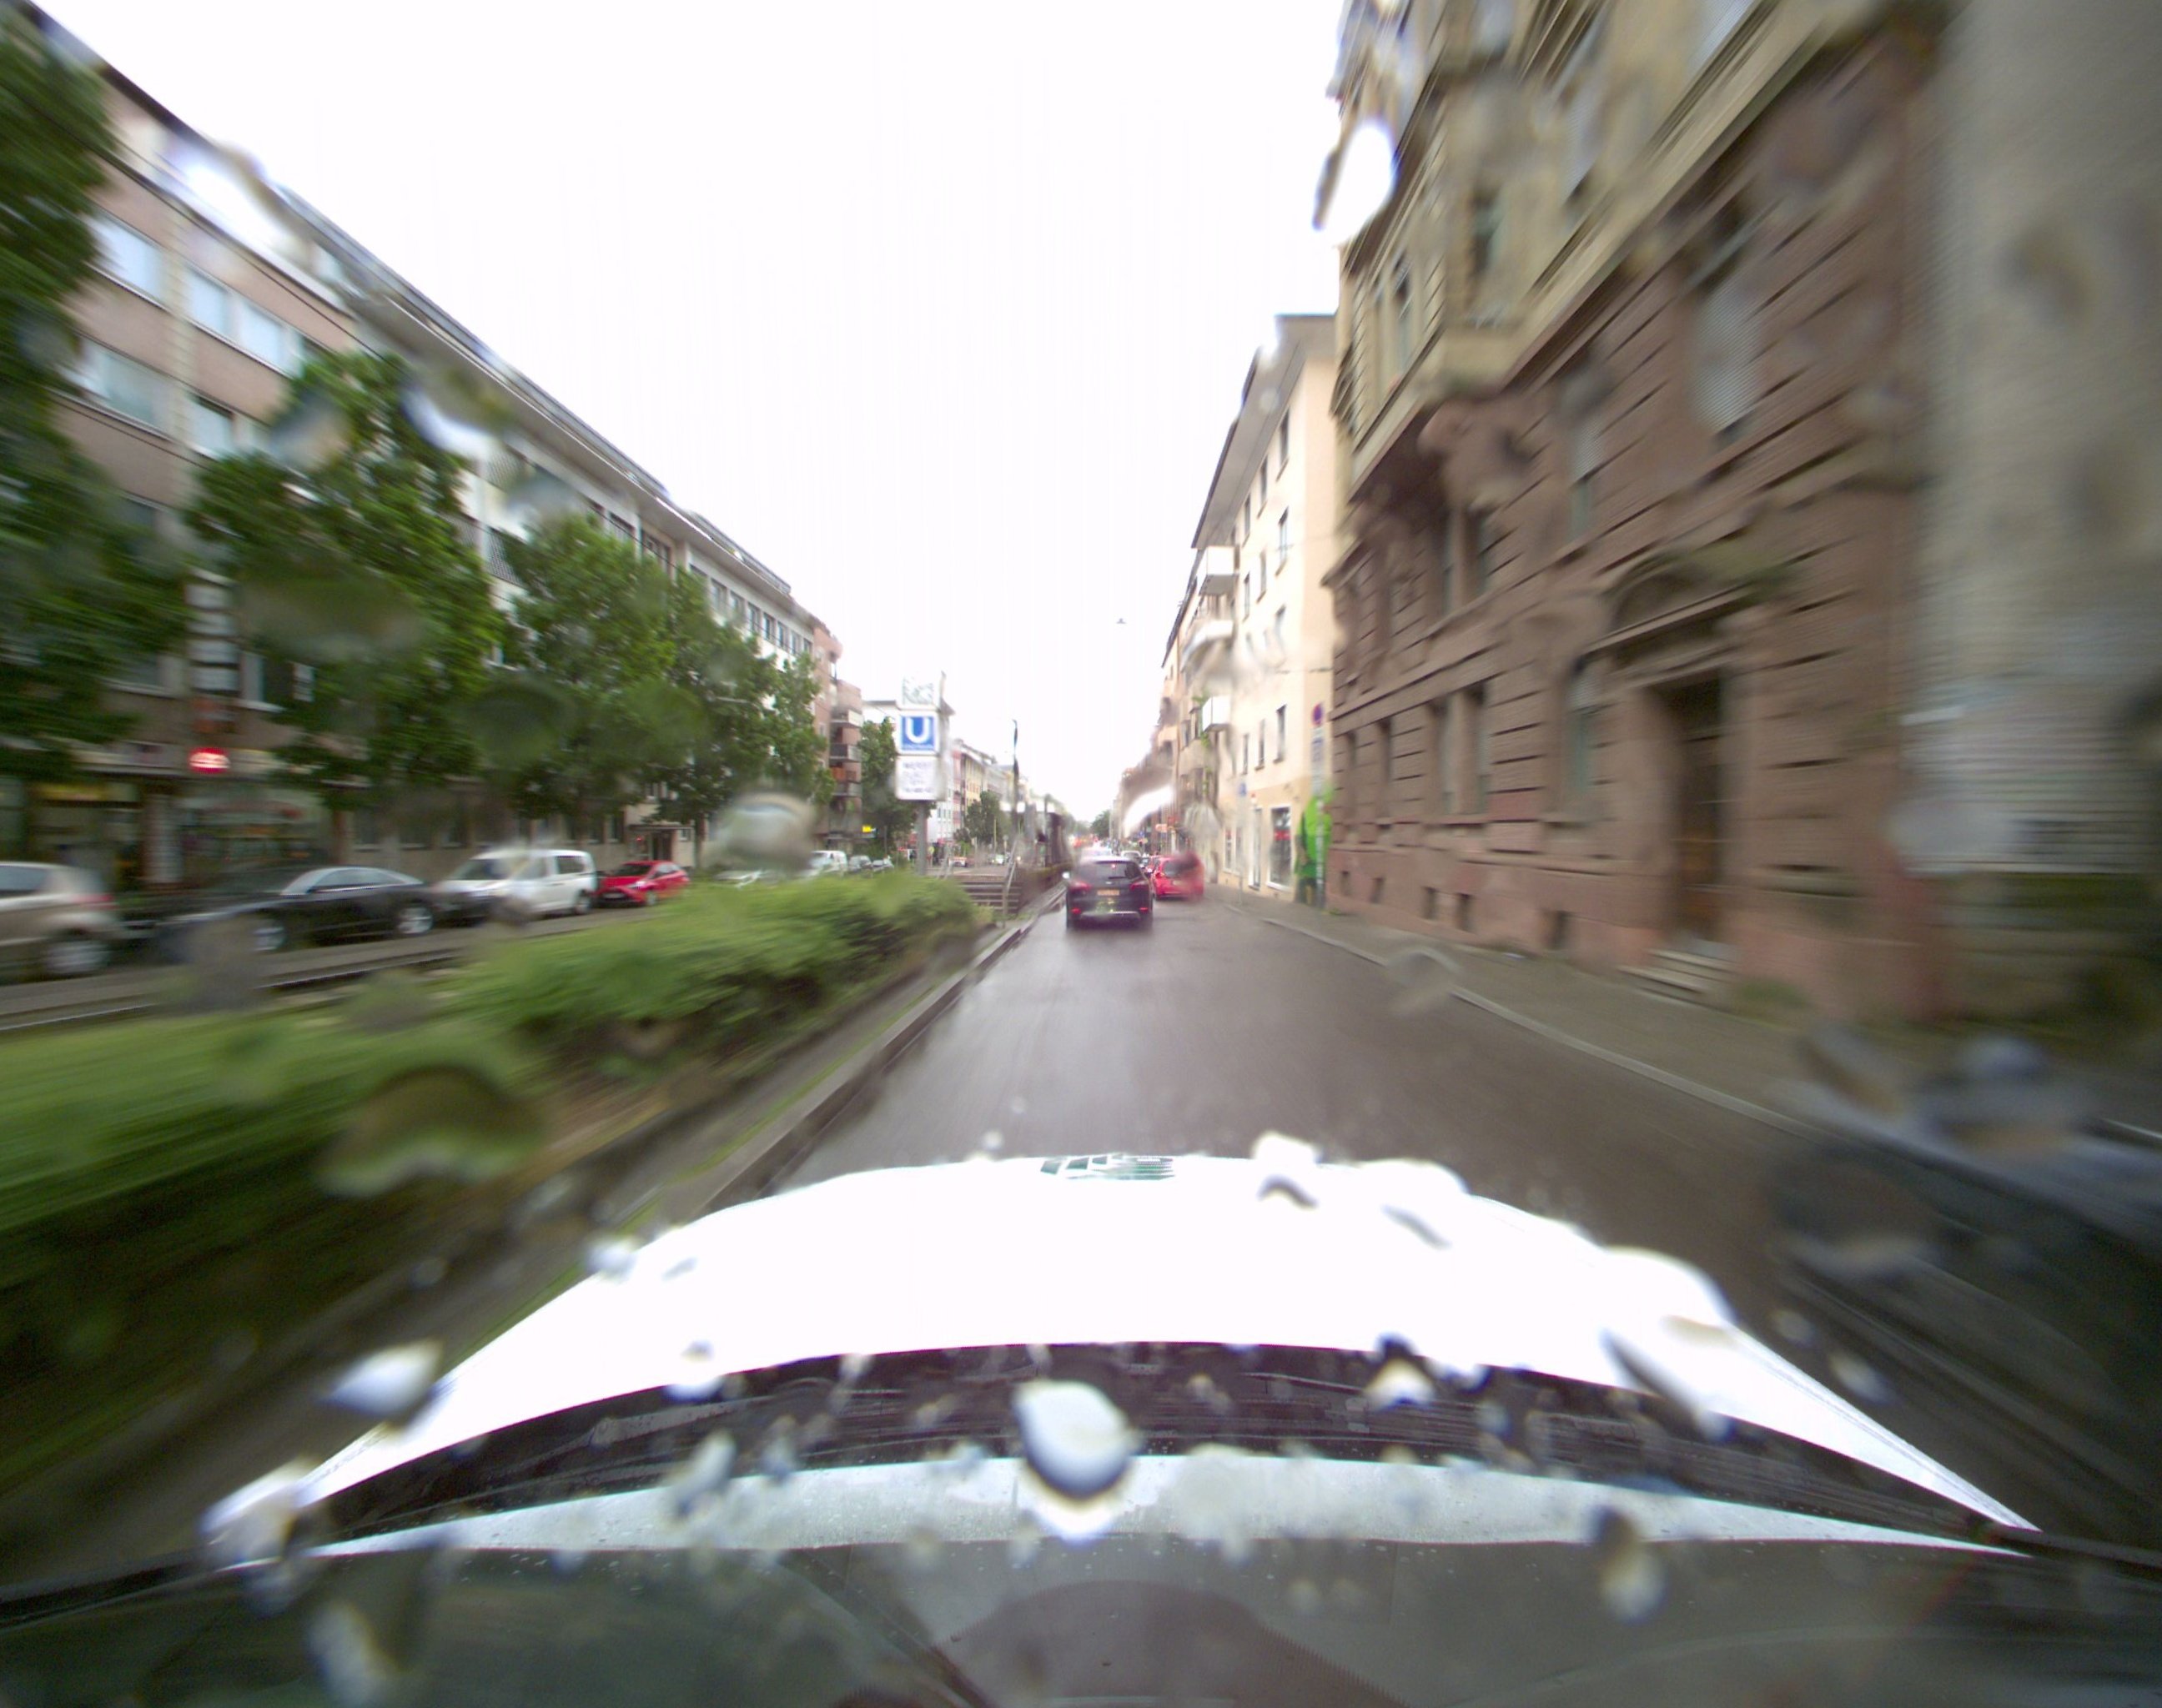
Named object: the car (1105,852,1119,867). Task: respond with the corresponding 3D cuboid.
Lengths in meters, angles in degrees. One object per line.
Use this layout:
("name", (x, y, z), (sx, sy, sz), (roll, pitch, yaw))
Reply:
("car", (4.413, 0.746, 116.470), (1.986, 2.014, 4.001), (2, -1, 2))

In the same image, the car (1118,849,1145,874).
("car", (3.787, 0.591, 61.002), (1.832, 1.781, 3.780), (2, -1, 2))

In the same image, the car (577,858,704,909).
("car", (-14.272, 0.919, 26.674), (1.848, 1.527, 4.047), (1, -1, 1))

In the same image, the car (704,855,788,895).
("car", (-13.826, 0.848, 33.867), (1.662, 1.558, 4.047), (1, -1, 1))

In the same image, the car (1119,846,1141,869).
("car", (3.984, 0.314, 66.671), (1.585, 1.781, 3.780), (2, -1, 2))

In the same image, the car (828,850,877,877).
("car", (-13.852, 0.577, 49.548), (1.689, 1.574, 4.047), (1, -1, 1))

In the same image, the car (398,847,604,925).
("car", (-14.247, 0.757, 20.386), (1.848, 1.701, 4.432), (1, -1, 1))

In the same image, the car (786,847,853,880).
("car", (-13.960, 0.516, 43.727), (1.848, 1.637, 4.936), (1, -1, 1))

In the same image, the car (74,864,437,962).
("car", (-14.165, 0.932, 14.463), (1.849, 1.418, 4.432), (-2, -1, 1))

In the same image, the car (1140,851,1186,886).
("car", (3.444, 0.591, 34.683), (1.664, 1.421, 3.476), (-1, 0, 1))

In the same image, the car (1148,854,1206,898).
("car", (3.290, 0.729, 28.461), (1.664, 1.421, 3.476), (-1, 0, 1))

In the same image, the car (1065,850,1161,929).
("car", (0.599, 0.692, 17.850), (1.837, 1.507, 3.998), (-1, 0, -1))

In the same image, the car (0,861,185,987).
("car", (-14.329, 0.867, 9.903), (1.848, 1.548, 4.432), (1, -1, 1))

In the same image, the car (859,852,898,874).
("car", (-13.725, 0.615, 55.356), (1.545, 1.395, 4.047), (1, -1, 1))

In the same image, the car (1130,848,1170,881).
("car", (3.636, 0.591, 43.200), (1.851, 1.585, 3.780), (2, -1, 2))

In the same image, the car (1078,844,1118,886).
("car", (0.838, 0.513, 42.071), (1.982, 2.060, 4.645), (0, 1, 0))

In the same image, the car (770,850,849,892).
("car", (-11.271, 0.692, 34.109), (1.848, 1.637, 4.047), (1, -1, 1))

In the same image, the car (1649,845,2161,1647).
("car", (2.745, 0.705, 0.900), (1.572, 1.459, 3.820), (-1, 0, 0))
